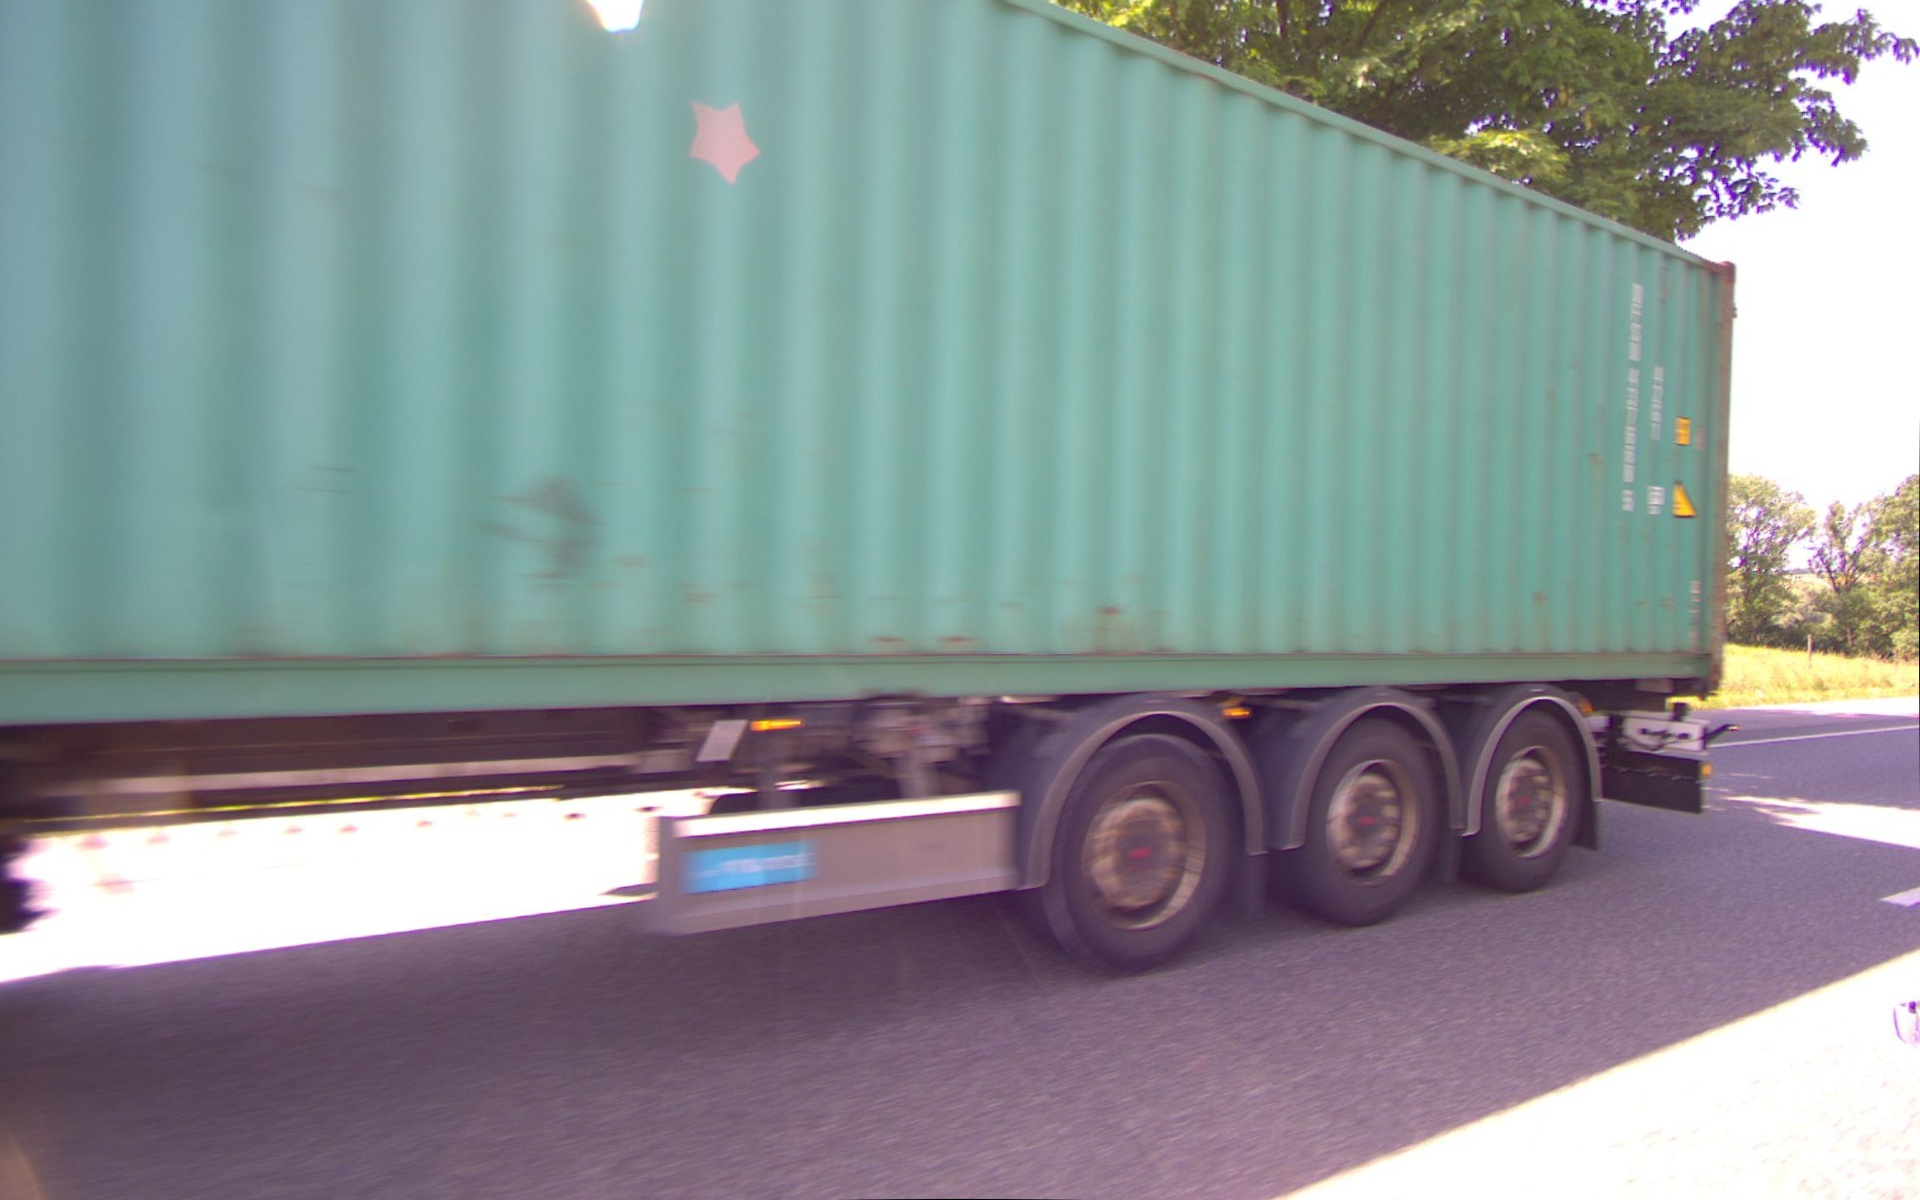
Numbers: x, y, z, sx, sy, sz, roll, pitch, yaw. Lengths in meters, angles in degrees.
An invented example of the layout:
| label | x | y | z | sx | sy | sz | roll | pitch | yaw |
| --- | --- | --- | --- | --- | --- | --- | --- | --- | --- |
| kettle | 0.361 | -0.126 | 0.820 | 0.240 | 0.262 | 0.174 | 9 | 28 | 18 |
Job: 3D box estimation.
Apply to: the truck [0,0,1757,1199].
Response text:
| label | x | y | z | sx | sy | sz | roll | pitch | yaw |
| --- | --- | --- | --- | --- | --- | --- | --- | --- | --- |
| truck | -2.439 | -0.479 | 3.546 | 15.970 | 3.992 | 2.548 | 1 | 1 | -30 |
